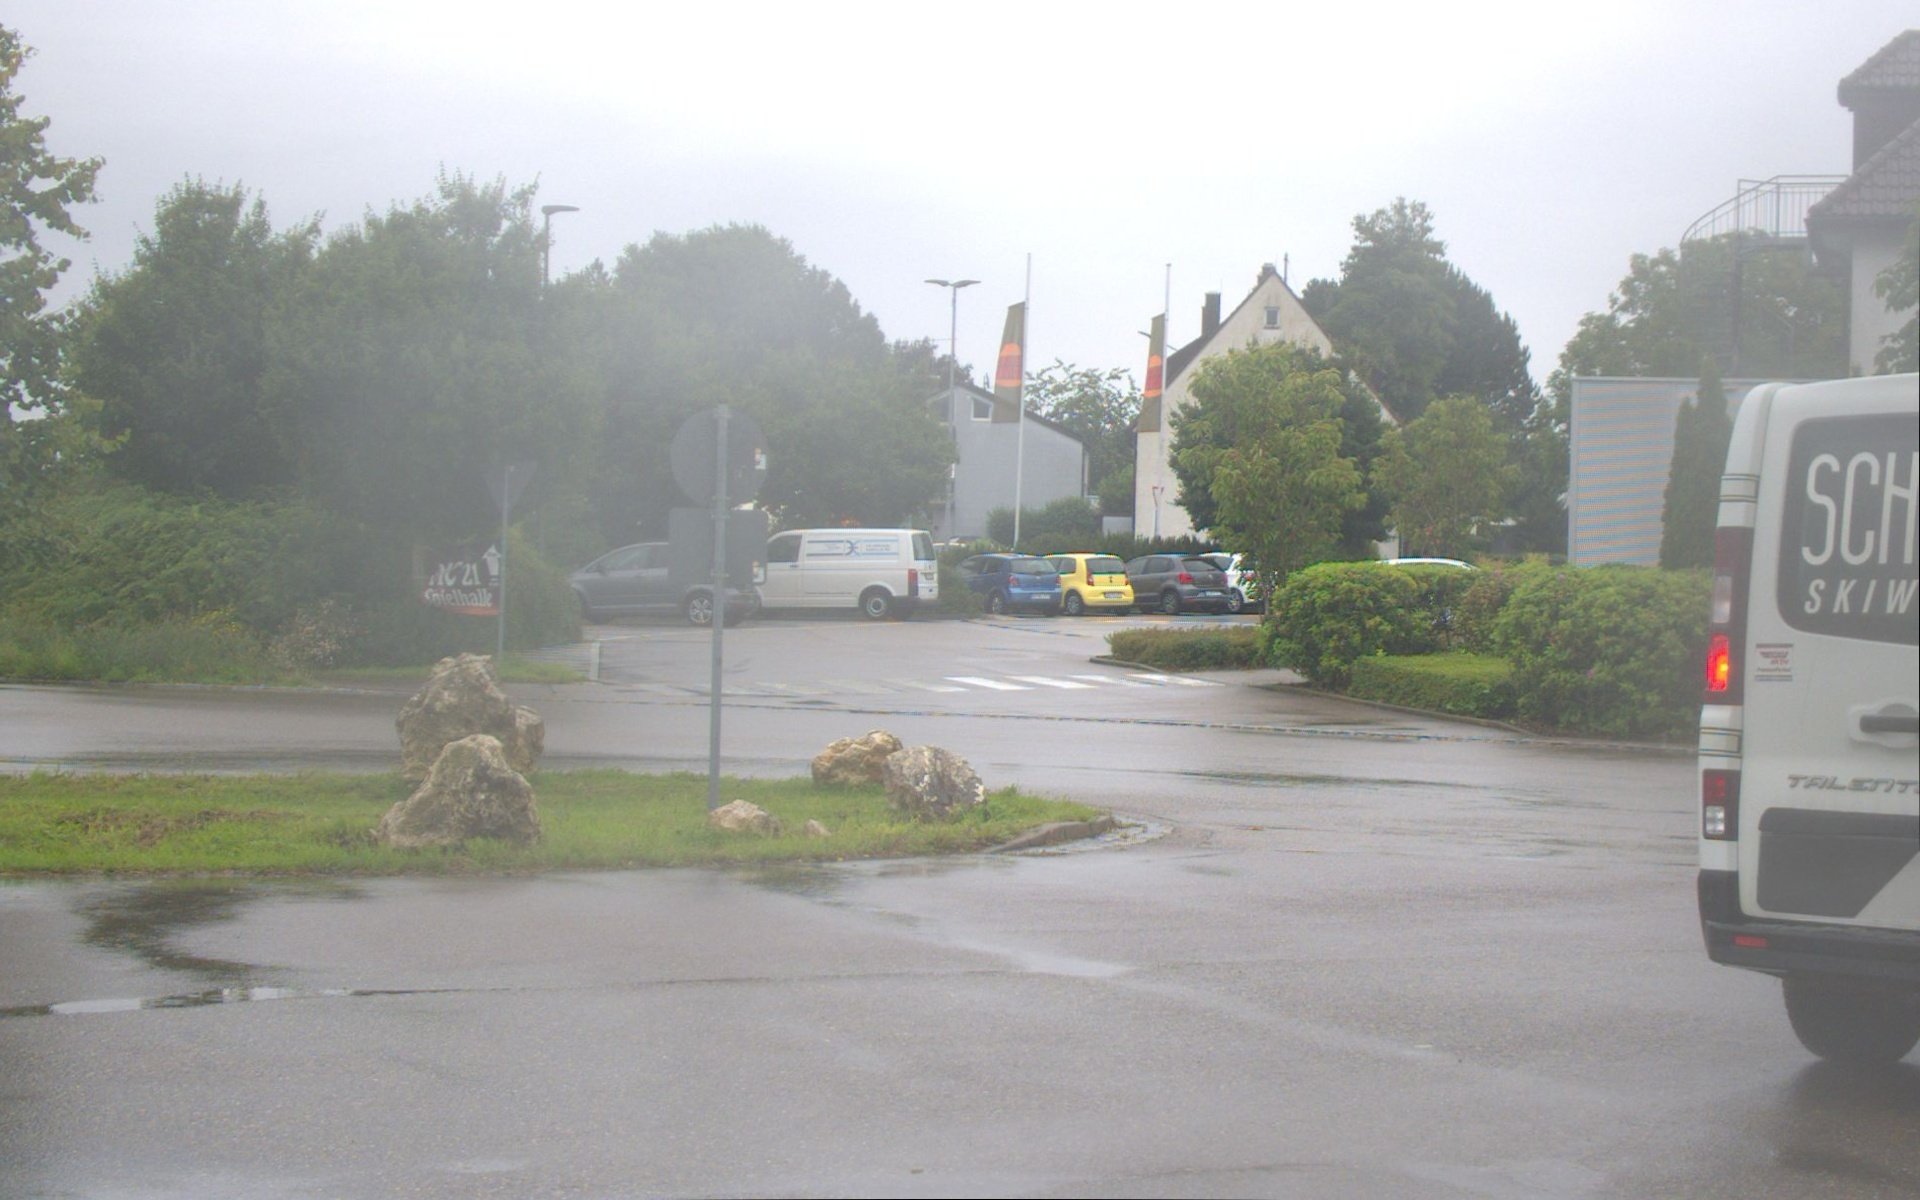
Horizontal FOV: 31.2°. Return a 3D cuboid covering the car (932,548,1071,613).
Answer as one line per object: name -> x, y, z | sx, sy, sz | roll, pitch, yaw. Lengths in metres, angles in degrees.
car -> 0.943, -0.482, 80.210 | 1.551, 1.453, 3.680 | 0, 1, -31

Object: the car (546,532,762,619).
car -> -5.686, -0.476, 63.921 | 3.734, 1.545, 1.450 | 1, 1, 15

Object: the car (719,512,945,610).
car -> -2.729, -0.854, 73.434 | 4.523, 2.026, 1.644 | 1, 1, 15

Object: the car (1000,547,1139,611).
car -> 2.601, -0.518, 82.273 | 1.580, 1.453, 3.680 | 0, 1, -31

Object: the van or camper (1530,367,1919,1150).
van or camper -> 4.117, 0.410, 10.442 | 2.193, 1.938, 5.184 | 3, 2, 42

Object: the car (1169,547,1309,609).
car -> 6.819, -0.558, 84.365 | 1.580, 1.453, 3.680 | 0, 1, -31

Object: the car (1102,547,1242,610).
car -> 5.106, -0.538, 83.285 | 1.580, 1.453, 3.680 | 0, 1, -31

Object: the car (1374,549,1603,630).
car -> 10.112, -0.217, 65.748 | 4.178, 1.492, 1.717 | 1, 1, 15
